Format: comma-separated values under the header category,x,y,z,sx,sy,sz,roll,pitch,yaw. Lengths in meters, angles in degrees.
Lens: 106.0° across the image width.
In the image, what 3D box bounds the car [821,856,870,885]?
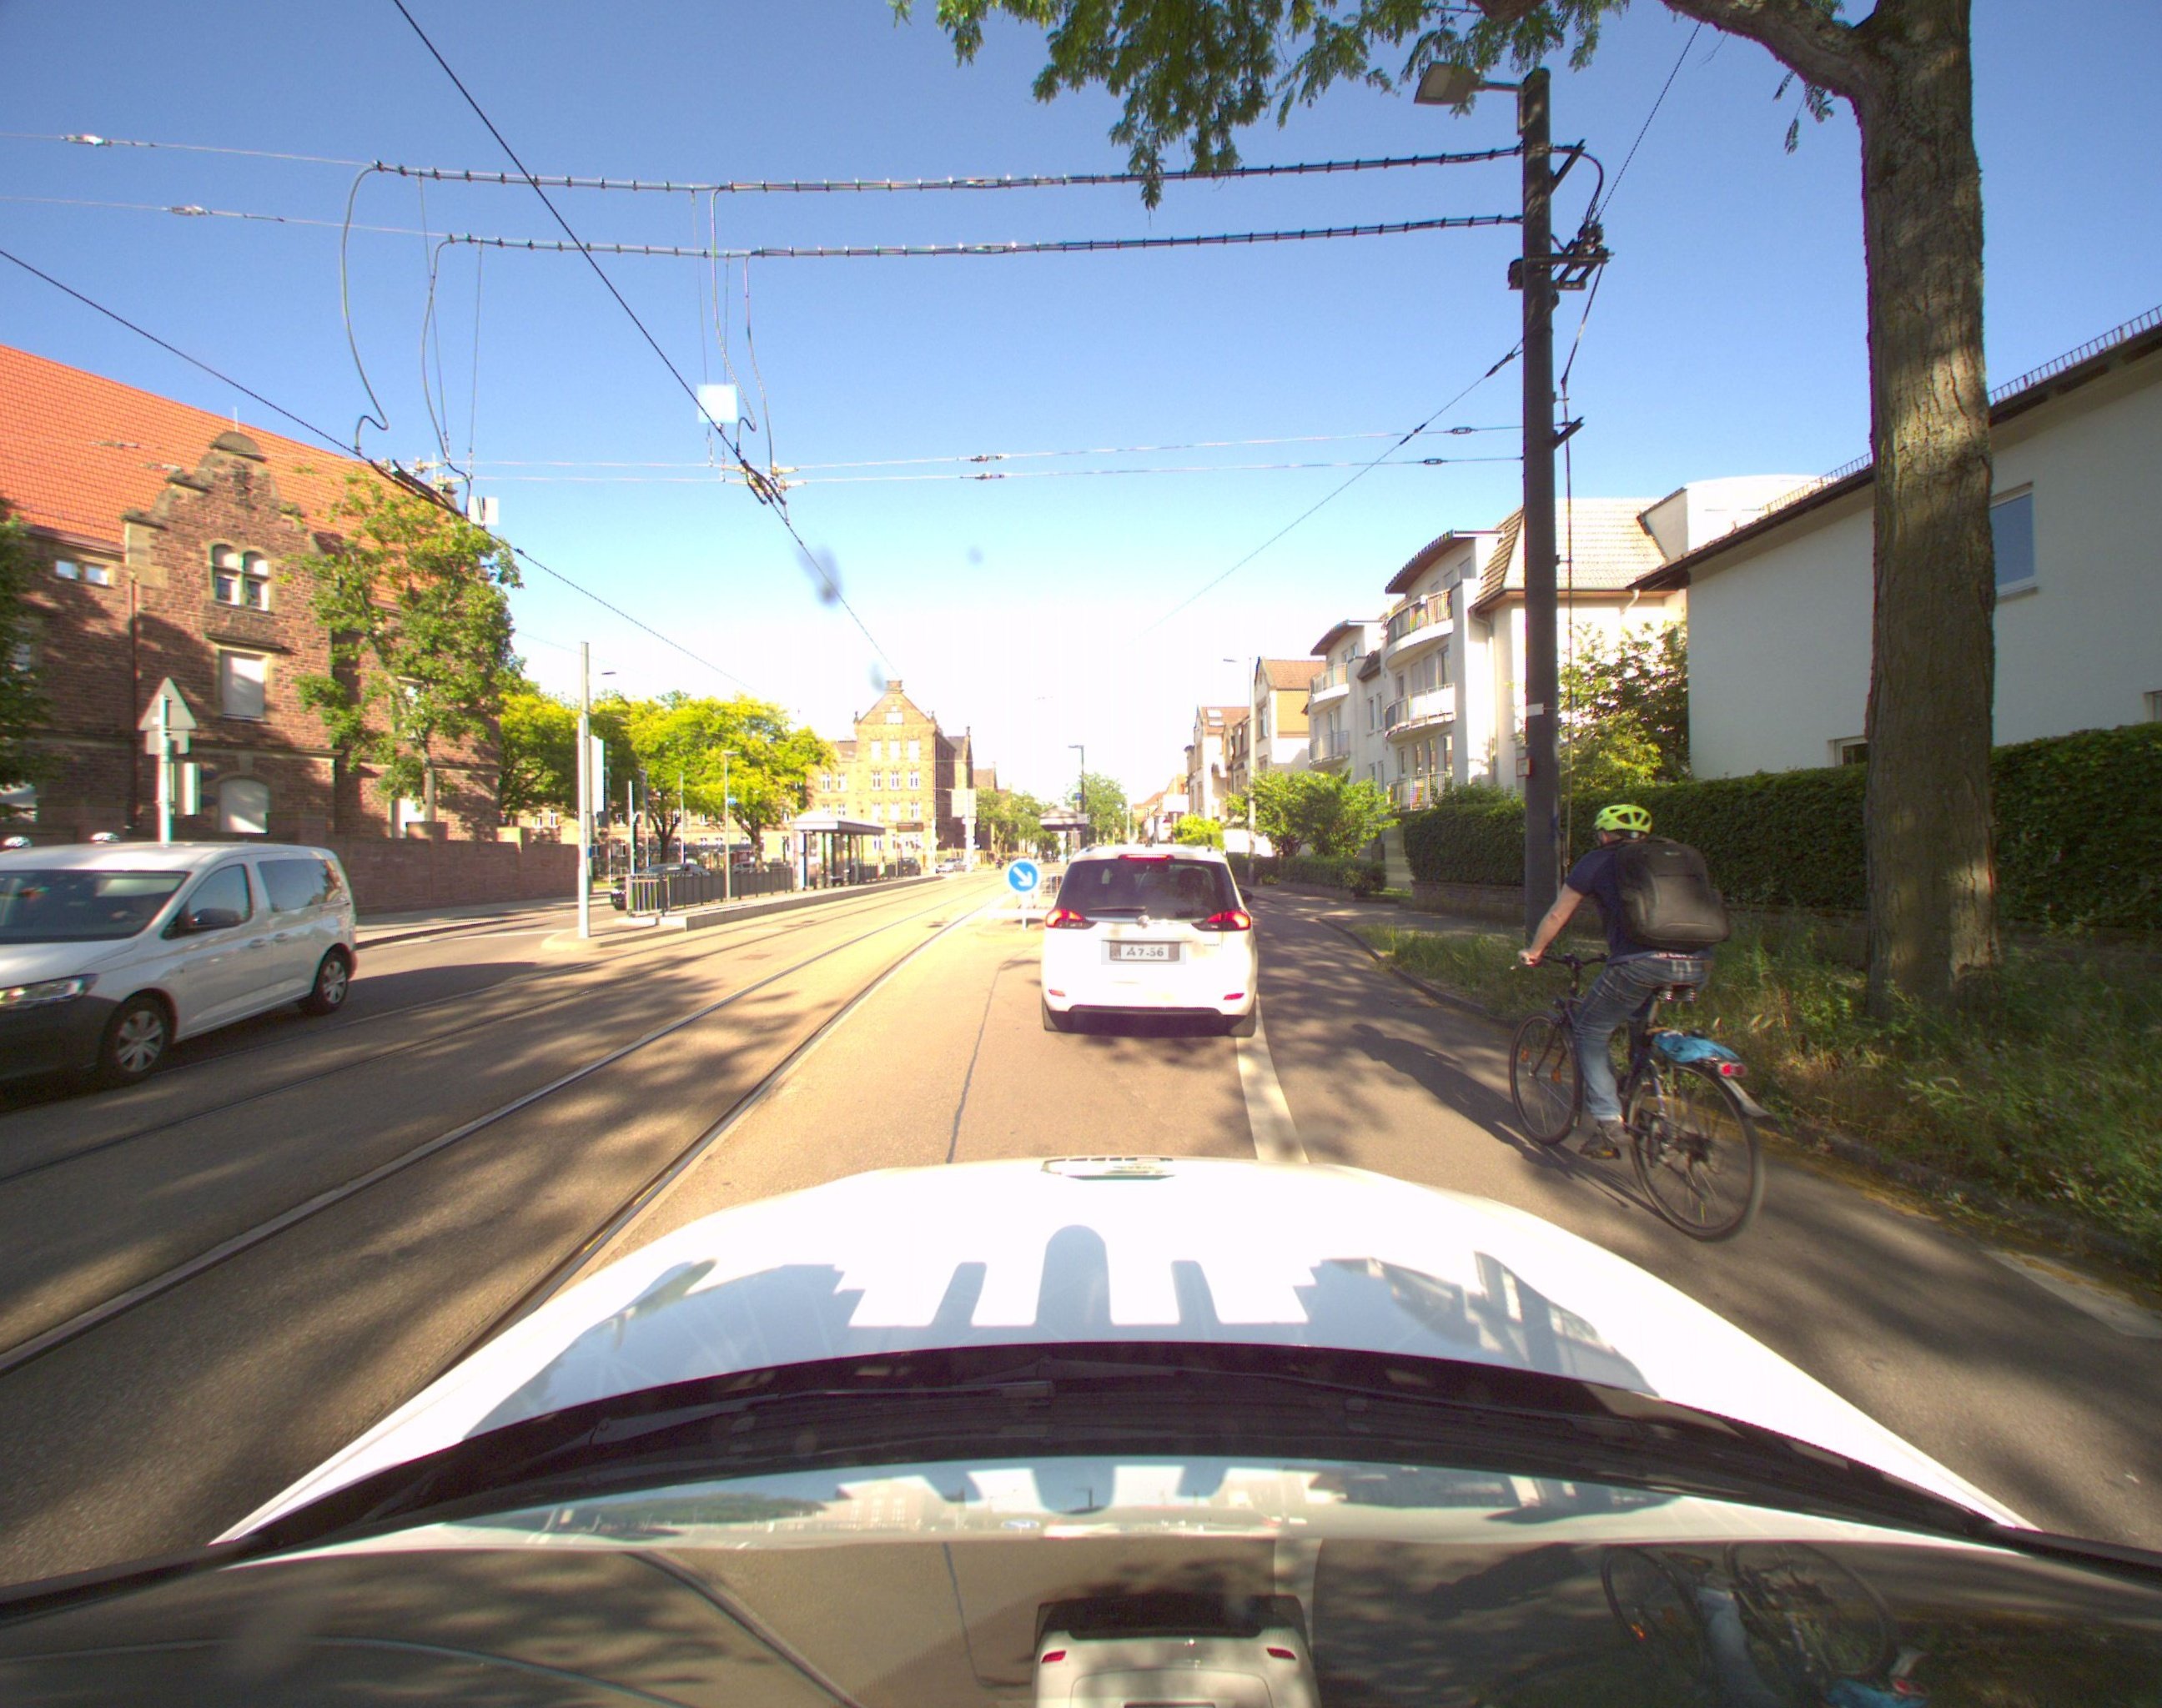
category,x,y,z,sx,sy,sz,roll,pitch,yaw
car,-13.856,0.946,48.072,1.823,1.617,4.322,-1,-1,-3

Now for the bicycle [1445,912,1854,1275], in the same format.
category,x,y,z,sx,sy,sz,roll,pitch,yaw
bicycle,2.452,0.923,3.856,0.640,1.143,1.902,-1,0,2

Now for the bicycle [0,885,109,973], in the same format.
category,x,y,z,sx,sy,sz,roll,pitch,yaw
bicycle,-14.587,1.010,11.131,0.670,1.072,2.004,0,0,-16

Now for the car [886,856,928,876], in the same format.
category,x,y,z,sx,sy,sz,roll,pitch,yaw
car,-13.746,0.945,64.501,1.817,1.446,4.337,-1,-1,8

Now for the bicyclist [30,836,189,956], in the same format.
category,x,y,z,sx,sy,sz,roll,pitch,yaw
bicyclist,-13.369,0.539,11.269,0.762,1.536,1.341,-1,0,-15

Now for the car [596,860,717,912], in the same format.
category,x,y,z,sx,sy,sz,roll,pitch,yaw
car,-13.472,0.951,26.196,1.795,1.382,4.487,-3,1,-5

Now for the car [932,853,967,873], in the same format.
category,x,y,z,sx,sy,sz,roll,pitch,yaw
car,-12.122,0.820,75.299,1.816,1.788,4.339,-1,-1,9

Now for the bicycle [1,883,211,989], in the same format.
category,x,y,z,sx,sy,sz,roll,pitch,yaw
bicycle,-13.363,1.060,11.276,0.778,1.230,2.078,-2,0,-15

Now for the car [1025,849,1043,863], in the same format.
category,x,y,z,sx,sy,sz,roll,pitch,yaw
car,-6.983,0.367,121.198,1.982,2.014,4.009,-1,-1,8

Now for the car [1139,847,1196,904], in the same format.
category,x,y,z,sx,sy,sz,roll,pitch,yaw
car,2.655,0.617,25.574,1.563,1.614,3.786,1,0,3

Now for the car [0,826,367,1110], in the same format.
category,x,y,z,sx,sy,sz,roll,pitch,yaw
car,-8.174,0.760,6.868,1.833,1.788,4.225,-1,-1,-21

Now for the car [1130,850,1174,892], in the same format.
category,x,y,z,sx,sy,sz,roll,pitch,yaw
car,2.926,0.666,34.165,1.590,1.635,3.903,1,0,2

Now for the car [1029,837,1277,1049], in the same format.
category,x,y,z,sx,sy,sz,roll,pitch,yaw
car,0.796,0.668,8.195,1.868,1.585,4.008,-1,0,7

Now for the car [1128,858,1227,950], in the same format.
category,x,y,z,sx,sy,sz,roll,pitch,yaw
car,1.778,0.804,14.874,1.560,1.401,3.792,1,0,7

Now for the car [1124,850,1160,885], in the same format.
category,x,y,z,sx,sy,sz,roll,pitch,yaw
car,2.972,0.633,40.427,1.590,1.635,3.903,1,0,2

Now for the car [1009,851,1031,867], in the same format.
category,x,y,z,sx,sy,sz,roll,pitch,yaw
car,-7.964,0.683,106.381,1.982,2.014,4.009,-1,-1,8

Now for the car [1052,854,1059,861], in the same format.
category,x,y,z,sx,sy,sz,roll,pitch,yaw
car,-7.548,0.993,237.924,1.989,2.014,3.994,0,-1,-4

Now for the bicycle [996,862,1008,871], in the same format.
category,x,y,z,sx,sy,sz,roll,pitch,yaw
bicycle,-8.744,1.392,90.113,0.720,0.965,2.068,-1,0,13

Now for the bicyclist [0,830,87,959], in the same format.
category,x,y,z,sx,sy,sz,roll,pitch,yaw
bicyclist,-14.583,0.523,11.137,0.651,1.674,1.226,0,0,-16

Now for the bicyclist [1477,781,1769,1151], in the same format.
category,x,y,z,sx,sy,sz,roll,pitch,yaw
bicyclist,2.456,0.455,3.845,0.641,1.488,1.115,0,-1,2

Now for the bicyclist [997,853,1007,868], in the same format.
category,x,y,z,sx,sy,sz,roll,pitch,yaw
bicyclist,-8.758,0.731,90.111,0.720,1.688,1.174,-1,0,13
